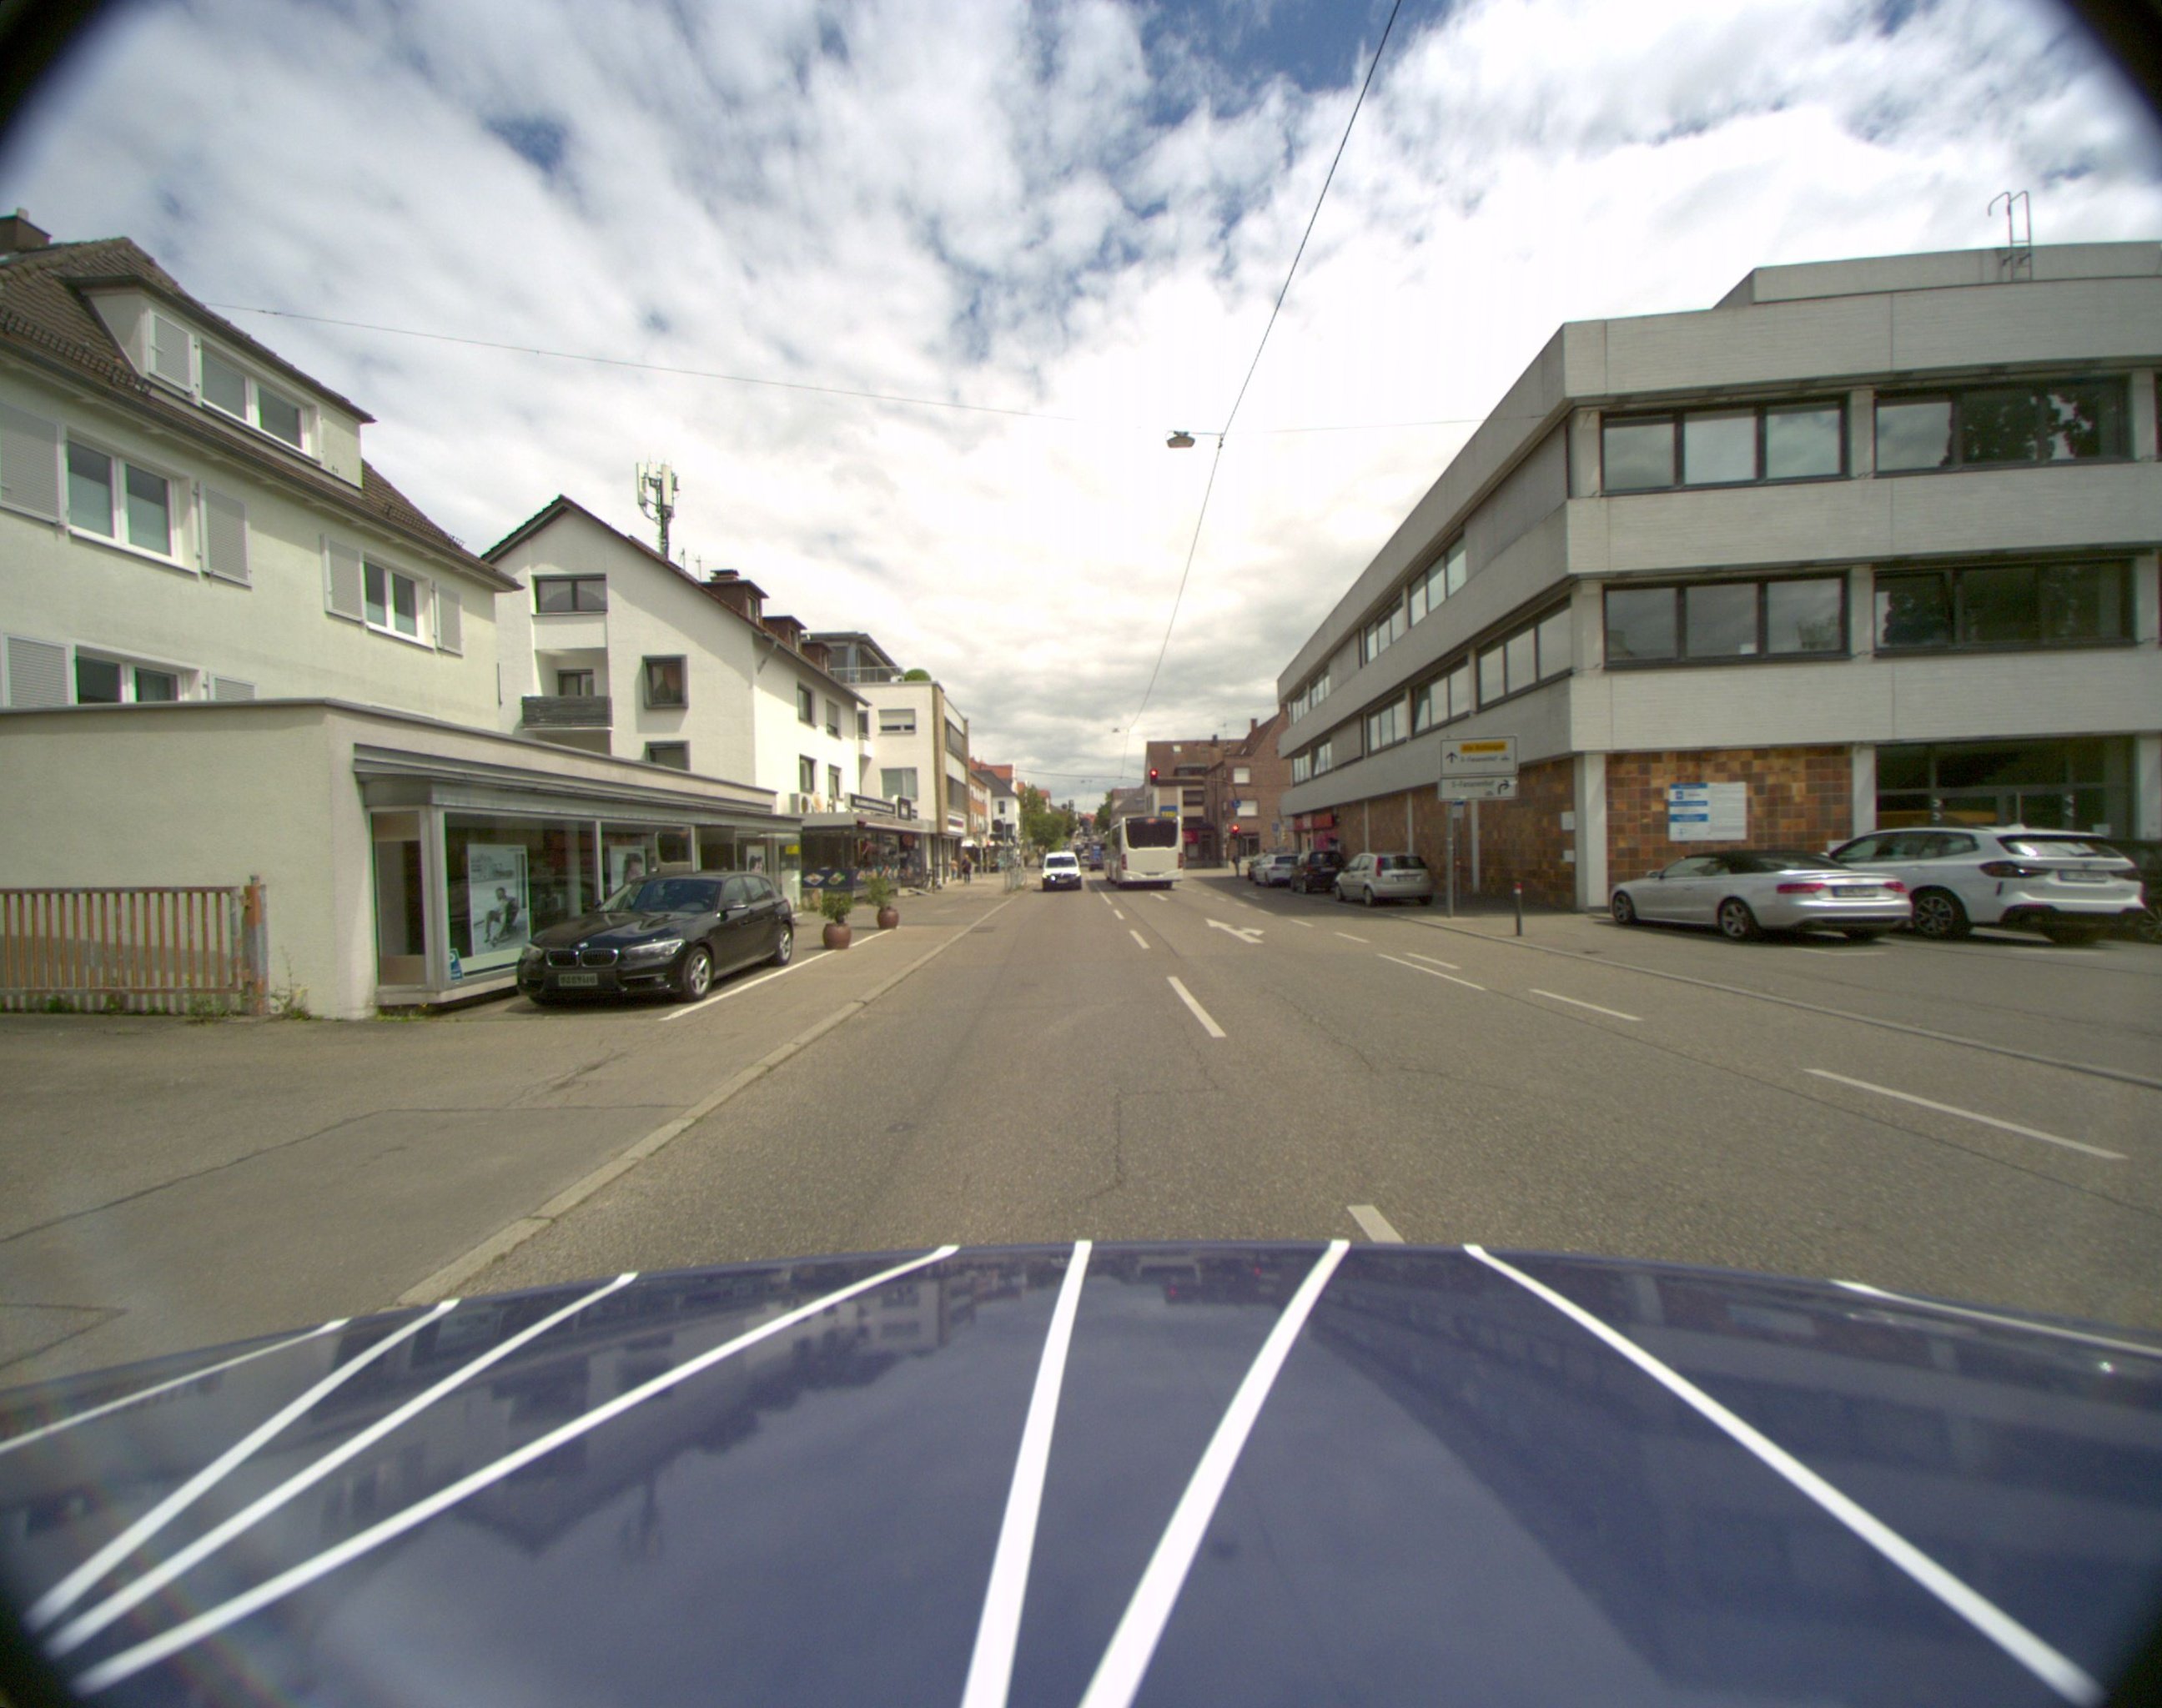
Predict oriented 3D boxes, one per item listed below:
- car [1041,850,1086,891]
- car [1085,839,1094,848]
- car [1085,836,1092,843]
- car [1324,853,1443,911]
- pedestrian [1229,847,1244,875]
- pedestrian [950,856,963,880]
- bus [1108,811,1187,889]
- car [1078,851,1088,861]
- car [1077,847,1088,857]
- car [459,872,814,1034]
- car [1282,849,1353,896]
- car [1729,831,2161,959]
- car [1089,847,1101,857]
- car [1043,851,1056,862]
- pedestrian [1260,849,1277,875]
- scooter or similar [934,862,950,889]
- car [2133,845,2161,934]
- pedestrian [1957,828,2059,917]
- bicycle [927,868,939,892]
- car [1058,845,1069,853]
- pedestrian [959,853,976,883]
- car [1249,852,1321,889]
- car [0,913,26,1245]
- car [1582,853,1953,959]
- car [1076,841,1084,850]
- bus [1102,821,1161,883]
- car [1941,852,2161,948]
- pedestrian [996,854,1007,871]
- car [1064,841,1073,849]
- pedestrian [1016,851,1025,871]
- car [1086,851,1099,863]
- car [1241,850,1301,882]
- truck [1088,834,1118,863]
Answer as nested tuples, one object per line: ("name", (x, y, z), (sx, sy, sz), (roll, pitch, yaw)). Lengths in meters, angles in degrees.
("car", (-0.879, 0.739, 36.335), (2.000, 1.797, 4.764), (-1, 0, -2))
("car", (2.056, -2.517, 184.194), (2.111, 2.109, 4.764), (-2, 0, -1))
("car", (2.160, -4.352, 224.664), (1.982, 1.985, 5.027), (-1, 0, -2))
("car", (8.411, 0.723, 21.540), (1.726, 1.413, 4.148), (-3, 0, 1))
("pedestrian", (9.508, 0.418, 46.493), (0.719, 1.635, 0.682), (-3, 1, 4))
("pedestrian", (-7.751, 0.865, 47.350), (0.681, 1.490, 0.720), (-1, 1, -1))
("bus", (2.875, -0.162, 35.255), (2.723, 3.145, 8.067), (-1, 0, -1))
("car", (0.364, 0.328, 133.395), (1.681, 1.626, 2.833), (-1, 0, -2))
("car", (0.211, -0.440, 151.279), (1.954, 1.866, 4.875), (-1, 1, -2))
("car", (-5.131, 1.016, 9.702), (1.973, 1.439, 4.534), (-1, 0, -2))
("car", (8.616, 0.629, 27.879), (1.740, 1.547, 3.057), (-3, 0, 3))
("car", (13.357, 0.527, 12.253), (1.955, 1.610, 4.932), (1, 0, 6))
("car", (2.822, -0.428, 151.401), (2.111, 1.778, 4.529), (-2, 0, -1))
("car", (-5.002, 0.409, 122.060), (1.999, 1.654, 3.999), (-1, 0, -1))
("pedestrian", (11.498, 0.471, 46.535), (0.820, 1.545, 0.846), (-3, 1, 5))
("scooter or similar", (-6.989, 1.066, 38.171), (0.690, 1.260, 1.184), (-1, 1, -13))
("car", (19.579, 0.603, 11.724), (1.767, 1.537, 3.605), (-1, 0, 2))
("pedestrian", (17.786, 0.339, 14.607), (0.719, 1.662, 0.995), (0, 1, 5))
("bicycle", (-6.901, 1.199, 35.457), (0.476, 1.022, 1.634), (-1, 0, -10))
("car", (-3.682, -1.031, 160.171), (2.150, 1.747, 3.973), (-1, 0, 0))
("pedestrian", (-6.474, 0.799, 43.364), (0.797, 1.661, 0.807), (-1, 1, -1))
("car", (8.901, 0.682, 33.644), (2.049, 1.436, 4.953), (-3, 0, 3))
("car", (-5.564, 0.921, 1.191), (1.882, 1.438, 4.307), (-1, -2, -2))
("car", (10.735, 0.691, 12.550), (1.955, 1.350, 4.856), (-1, 0, 4))
("car", (-0.239, -1.909, 171.648), (1.819, 1.919, 4.112), (-1, 0, 0))
("bus", (2.775, -0.145, 44.412), (2.689, 3.145, 10.183), (-1, 0, 0))
("car", (16.204, 0.646, 11.762), (1.767, 1.323, 3.605), (-1, 0, 2))
("pedestrian", (-7.112, 0.759, 67.944), (0.779, 1.517, 0.819), (-1, 1, 2))
("car", (-3.022, -2.215, 187.850), (2.150, 1.747, 3.973), (-1, 0, 0))
("pedestrian", (-5.497, 0.634, 68.917), (0.581, 1.820, 0.882), (0, 1, 16))
("car", (1.705, 0.447, 113.975), (1.950, 1.810, 4.278), (-1, 0, -1))
("car", (9.706, 0.578, 39.084), (2.049, 1.467, 4.285), (-3, 0, 1))
("truck", (2.412, -0.577, 86.084), (2.861, 3.075, 8.086), (-1, 0, -2))
